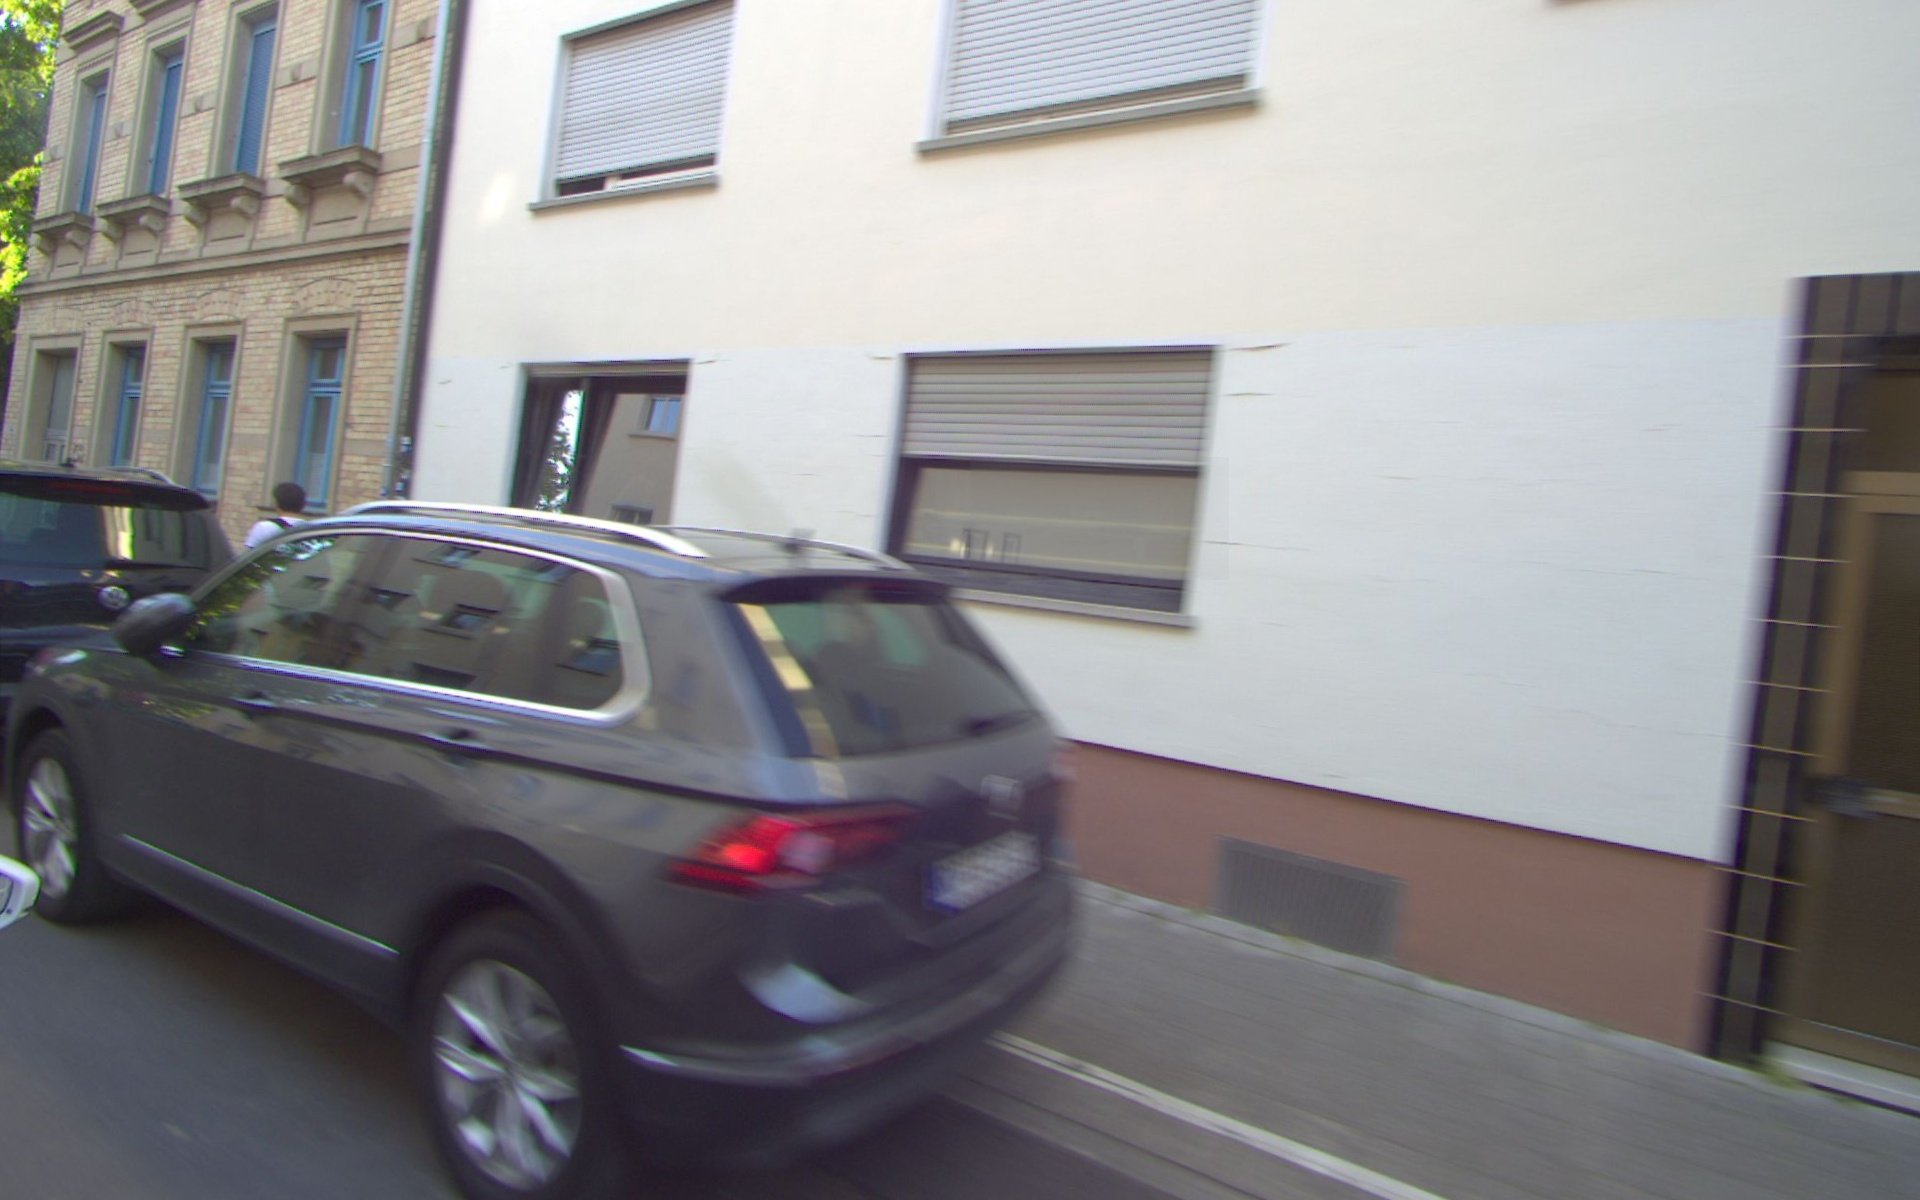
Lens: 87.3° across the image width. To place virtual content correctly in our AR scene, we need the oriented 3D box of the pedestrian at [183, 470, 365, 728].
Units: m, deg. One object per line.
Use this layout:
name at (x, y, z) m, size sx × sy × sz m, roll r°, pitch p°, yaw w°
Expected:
pedestrian at (-4.841, -0.002, 7.114) m, size 0.705 × 1.680 × 0.686 m, roll 8°, pitch 1°, yaw 31°

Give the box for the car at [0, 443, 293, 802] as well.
car at (-6.024, -0.046, 6.140) m, size 4.027 × 1.703 × 1.677 m, roll 6°, pitch 1°, yaw 32°

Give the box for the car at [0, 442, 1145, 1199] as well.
car at (-1.684, 0.433, 3.615) m, size 4.179 × 1.649 × 1.676 m, roll 7°, pitch 3°, yaw 31°

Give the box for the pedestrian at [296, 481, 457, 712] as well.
pedestrian at (-4.555, -0.020, 7.867) m, size 0.705 × 1.680 × 0.686 m, roll 8°, pitch 1°, yaw 31°
